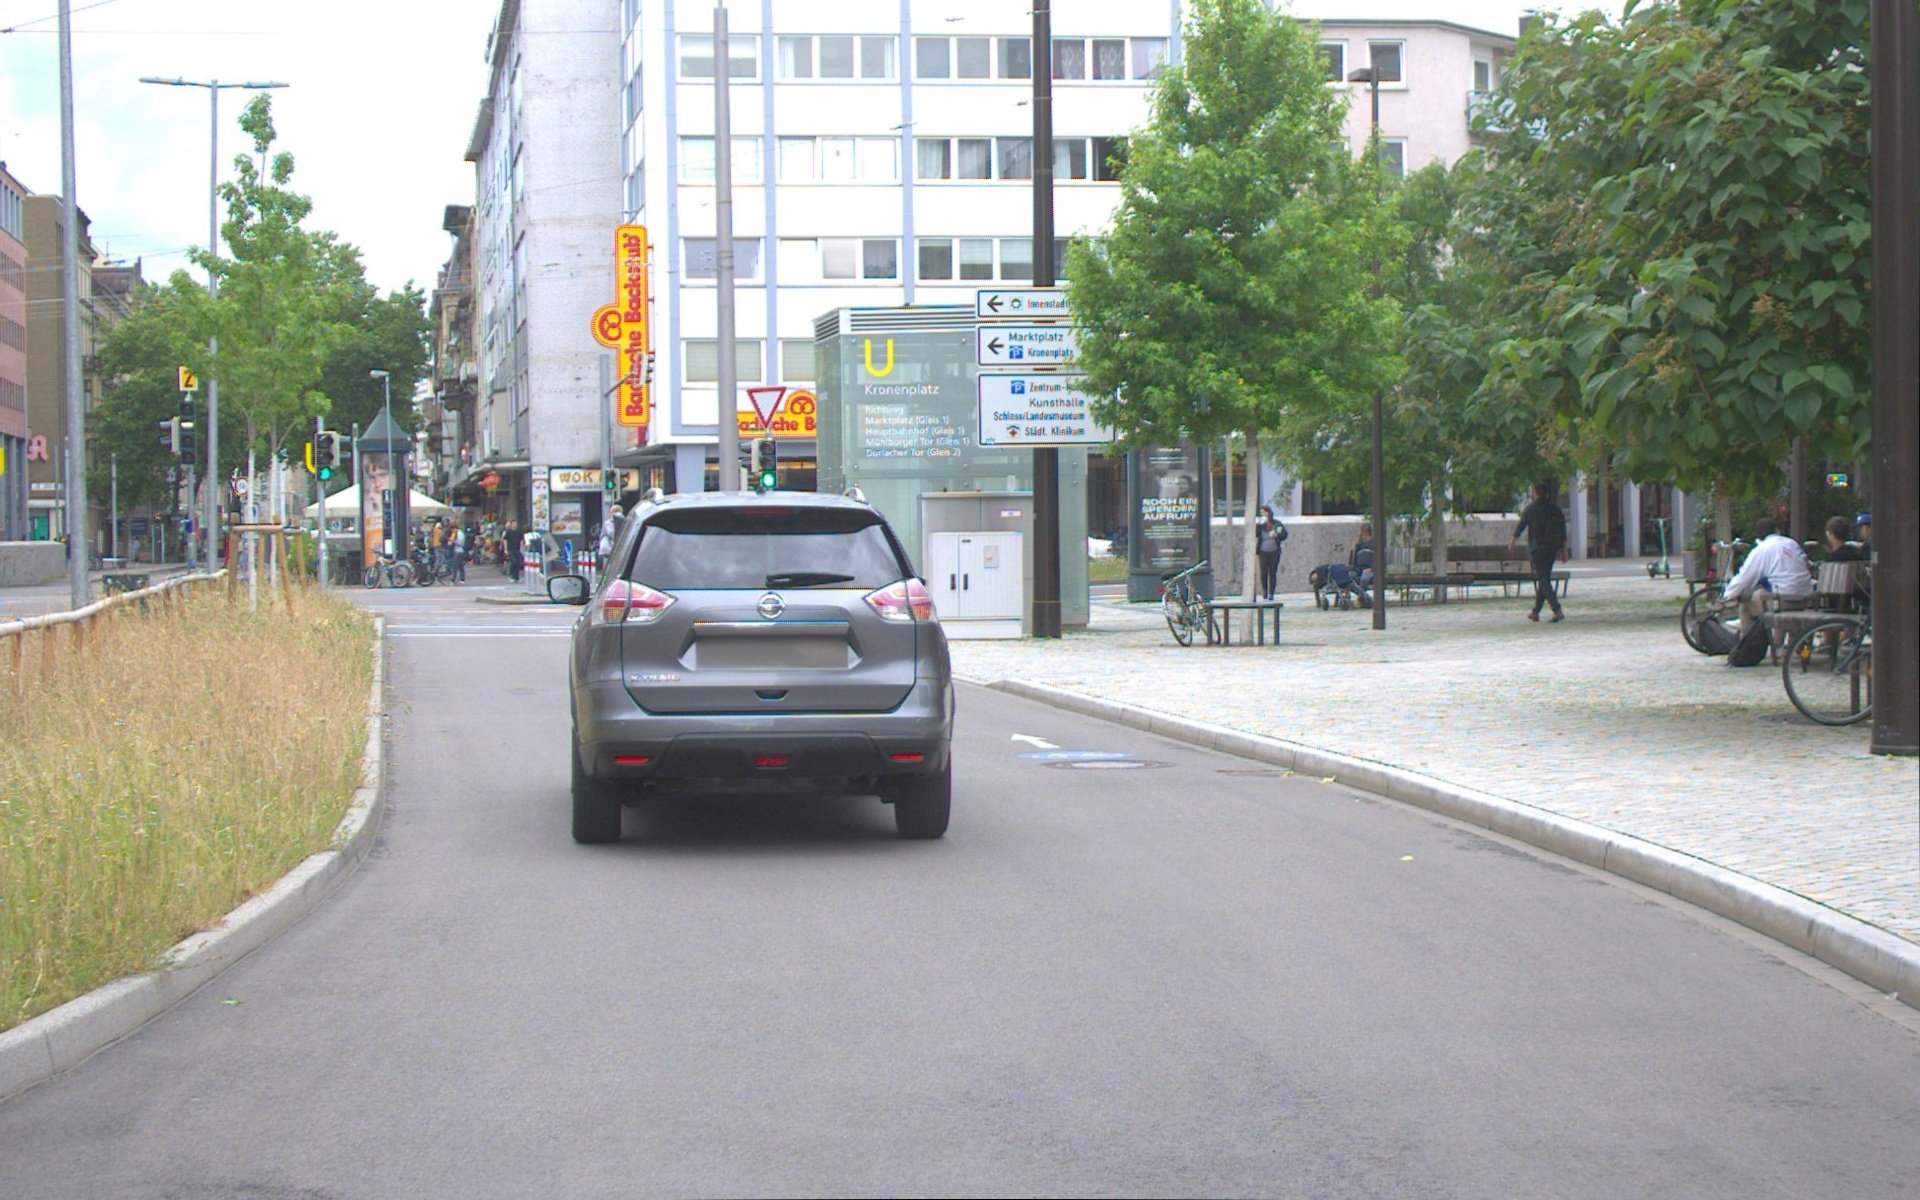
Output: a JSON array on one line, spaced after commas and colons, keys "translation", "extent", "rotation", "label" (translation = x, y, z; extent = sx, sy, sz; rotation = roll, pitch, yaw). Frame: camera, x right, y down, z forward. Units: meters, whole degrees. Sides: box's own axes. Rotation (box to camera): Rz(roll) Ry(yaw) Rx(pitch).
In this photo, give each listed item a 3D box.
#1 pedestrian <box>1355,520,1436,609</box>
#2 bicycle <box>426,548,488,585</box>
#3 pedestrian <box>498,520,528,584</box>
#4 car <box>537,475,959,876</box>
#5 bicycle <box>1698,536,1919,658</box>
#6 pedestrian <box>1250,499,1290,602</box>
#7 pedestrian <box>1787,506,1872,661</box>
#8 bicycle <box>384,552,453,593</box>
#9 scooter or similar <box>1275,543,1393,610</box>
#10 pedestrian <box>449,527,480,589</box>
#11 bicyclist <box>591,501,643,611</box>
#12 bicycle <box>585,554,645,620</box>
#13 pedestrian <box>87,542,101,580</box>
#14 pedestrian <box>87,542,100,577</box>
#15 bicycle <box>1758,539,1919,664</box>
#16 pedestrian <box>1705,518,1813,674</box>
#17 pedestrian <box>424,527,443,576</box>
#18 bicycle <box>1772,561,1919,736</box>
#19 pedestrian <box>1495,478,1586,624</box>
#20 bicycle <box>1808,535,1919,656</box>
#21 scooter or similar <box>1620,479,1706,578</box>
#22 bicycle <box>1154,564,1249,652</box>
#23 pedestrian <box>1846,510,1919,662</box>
[{"translation": [6.586, -0.535, 52.016], "extent": [1.044, 1.292, 0.733], "rotation": [-2, 1, -4], "label": "pedestrian"}, {"translation": [-14.377, -0.956, 98.321], "extent": [1.695, 1.062, 0.437], "rotation": [0, 1, -22], "label": "bicycle"}, {"translation": [-12.815, -1.381, 98.547], "extent": [0.712, 1.826, 1.017], "rotation": [0, 1, -17], "label": "pedestrian"}, {"translation": [-1.119, 0.287, 17.882], "extent": [1.863, 1.768, 4.568], "rotation": [-2, 1, -4], "label": "car"}, {"translation": [8.232, -0.034, 33.316], "extent": [2.035, 1.107, 0.477], "rotation": [-2, 1, 6], "label": "bicycle"}, {"translation": [5.290, -0.844, 58.636], "extent": [0.671, 1.755, 0.641], "rotation": [0, 1, 6], "label": "pedestrian"}, {"translation": [7.775, -0.153, 30.776], "extent": [0.628, 1.361, 0.919], "rotation": [0, 1, 8], "label": "pedestrian"}, {"translation": [-15.457, -0.780, 98.139], "extent": [1.867, 1.168, 0.531], "rotation": [0, 1, -23], "label": "bicycle"}, {"translation": [5.687, -0.356, 52.270], "extent": [1.589, 0.945, 0.724], "rotation": [-2, 1, 29], "label": "scooter or similar"}, {"translation": [-14.113, -1.202, 97.890], "extent": [0.732, 1.740, 0.663], "rotation": [0, 1, -22], "label": "pedestrian"}, {"translation": [-5.682, -0.733, 56.848], "extent": [0.834, 1.806, 0.878], "rotation": [0, 1, -7], "label": "bicyclist"}, {"translation": [-5.737, -0.236, 56.988], "extent": [0.901, 1.041, 3.278], "rotation": [-1, 1, -7], "label": "bicycle"}, {"translation": [-39.338, -1.771, 156.128], "extent": [0.600, 1.708, 0.656], "rotation": [0, 1, -17], "label": "pedestrian"}, {"translation": [-41.762, -1.961, 165.729], "extent": [0.600, 1.708, 0.656], "rotation": [0, 1, -17], "label": "pedestrian"}, {"translation": [8.347, 0.009, 32.234], "extent": [1.601, 1.107, 0.477], "rotation": [-2, 1, 6], "label": "bicycle"}, {"translation": [7.080, -0.046, 30.461], "extent": [0.628, 1.361, 0.688], "rotation": [0, 1, -28], "label": "pedestrian"}, {"translation": [-18.436, -1.710, 120.321], "extent": [0.643, 1.699, 0.559], "rotation": [0, 1, -9], "label": "pedestrian"}, {"translation": [6.338, 0.308, 22.448], "extent": [1.914, 1.119, 0.645], "rotation": [0, 1, 2], "label": "bicycle"}, {"translation": [7.382, -0.619, 43.732], "extent": [0.713, 1.796, 1.078], "rotation": [-4, 1, -10], "label": "pedestrian"}, {"translation": [8.936, -0.055, 32.731], "extent": [1.601, 1.107, 0.477], "rotation": [-2, 1, 6], "label": "bicycle"}, {"translation": [13.191, -1.354, 64.550], "extent": [1.084, 1.800, 2.274], "rotation": [-1, 1, -1], "label": "scooter or similar"}, {"translation": [2.851, 0.082, 40.445], "extent": [0.658, 0.975, 1.753], "rotation": [-1, 1, 19], "label": "bicycle"}, {"translation": [8.456, -0.137, 31.423], "extent": [0.543, 1.361, 1.280], "rotation": [0, 1, 8], "label": "pedestrian"}]
